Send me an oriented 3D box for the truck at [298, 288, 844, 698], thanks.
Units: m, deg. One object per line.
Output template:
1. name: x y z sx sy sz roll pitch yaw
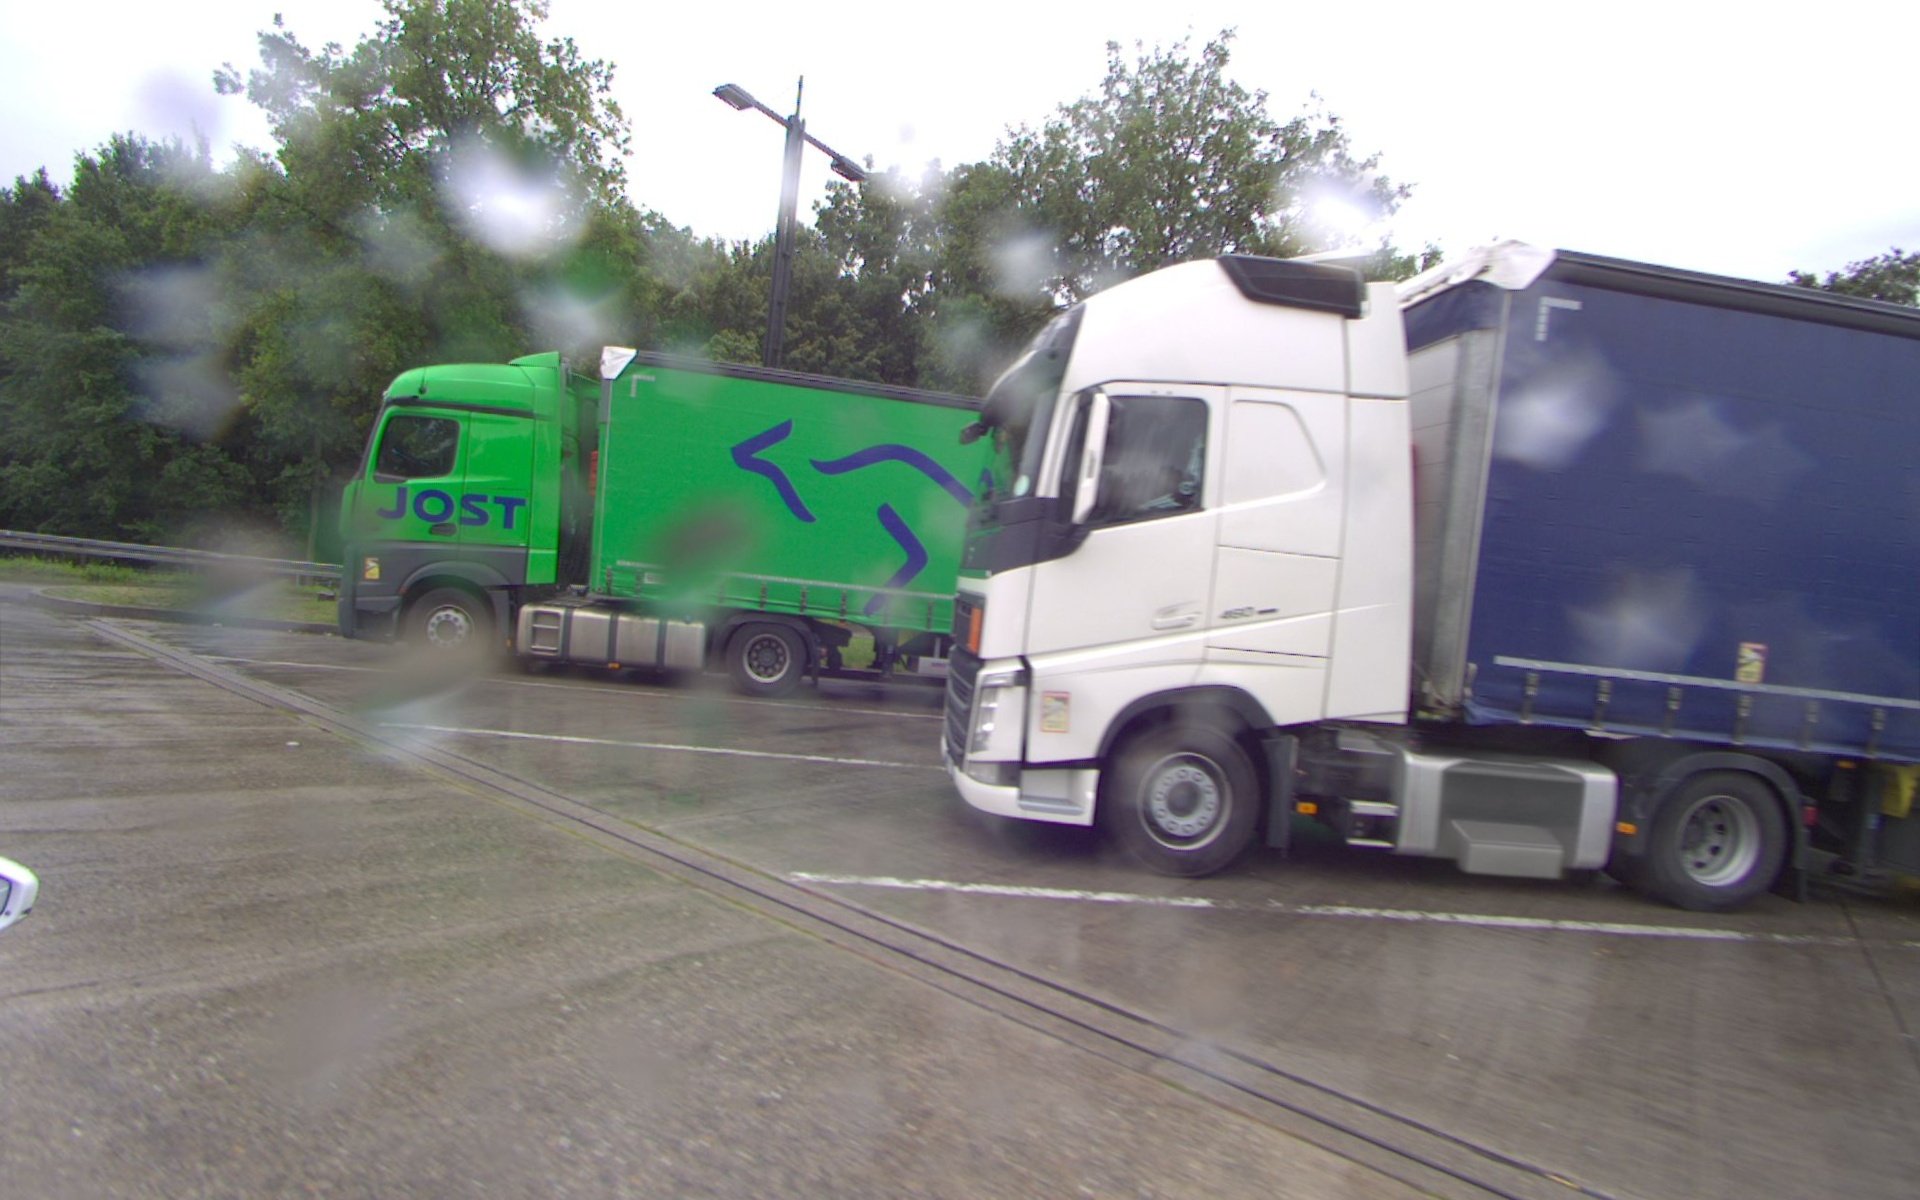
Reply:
1. truck: -4.735 -1.195 13.378 5.895 4.204 2.821 5 1 -9

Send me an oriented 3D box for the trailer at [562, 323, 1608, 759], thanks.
1. trailer: 1.964 -0.535 14.469 13.728 4.204 2.820 6 1 -10

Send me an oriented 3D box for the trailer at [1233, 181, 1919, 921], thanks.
1. trailer: 9.554 0.288 8.346 13.750 4.225 2.821 6 1 -8

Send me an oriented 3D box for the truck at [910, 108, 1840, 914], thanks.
1. truck: 2.524 -0.387 7.354 5.210 4.200 2.821 5 1 -8
